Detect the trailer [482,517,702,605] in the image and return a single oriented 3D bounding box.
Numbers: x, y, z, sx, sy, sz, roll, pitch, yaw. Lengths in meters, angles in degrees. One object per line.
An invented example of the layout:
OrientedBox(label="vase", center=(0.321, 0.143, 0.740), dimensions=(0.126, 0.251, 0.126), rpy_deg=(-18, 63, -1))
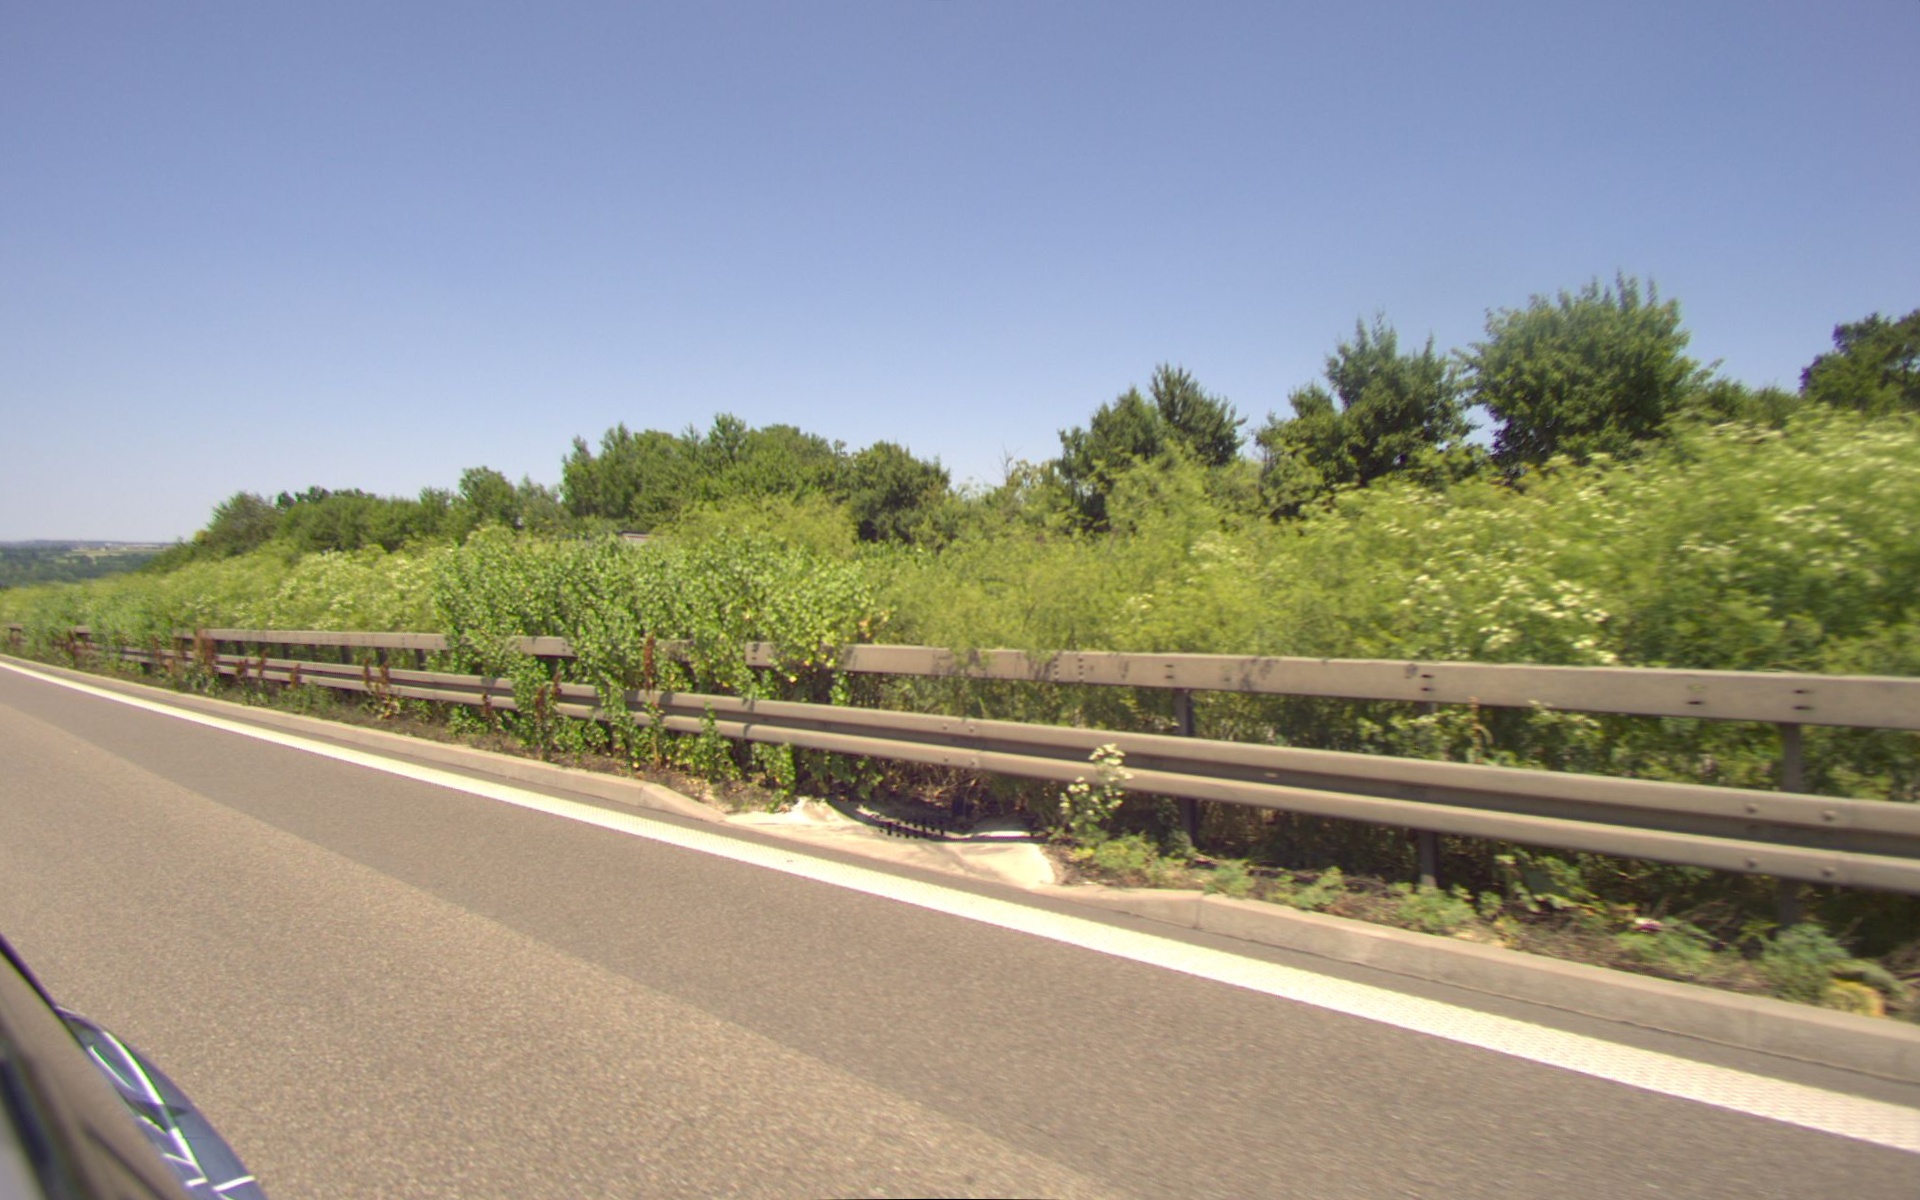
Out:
OrientedBox(label="trailer", center=(-13.812, -1.220, 37.092), dimensions=(11.404, 2.730, 2.539), rpy_deg=(-1, -1, 42))

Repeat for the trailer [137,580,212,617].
OrientedBox(label="trailer", center=(-65.181, -0.064, 83.836), dimensions=(12.309, 2.822, 2.646), rpy_deg=(-1, -1, 42))

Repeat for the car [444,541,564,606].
OrientedBox(label="car", center=(-18.814, -1.017, 41.645), dimensions=(5.512, 2.470, 2.542), rpy_deg=(-1, -1, 42))
